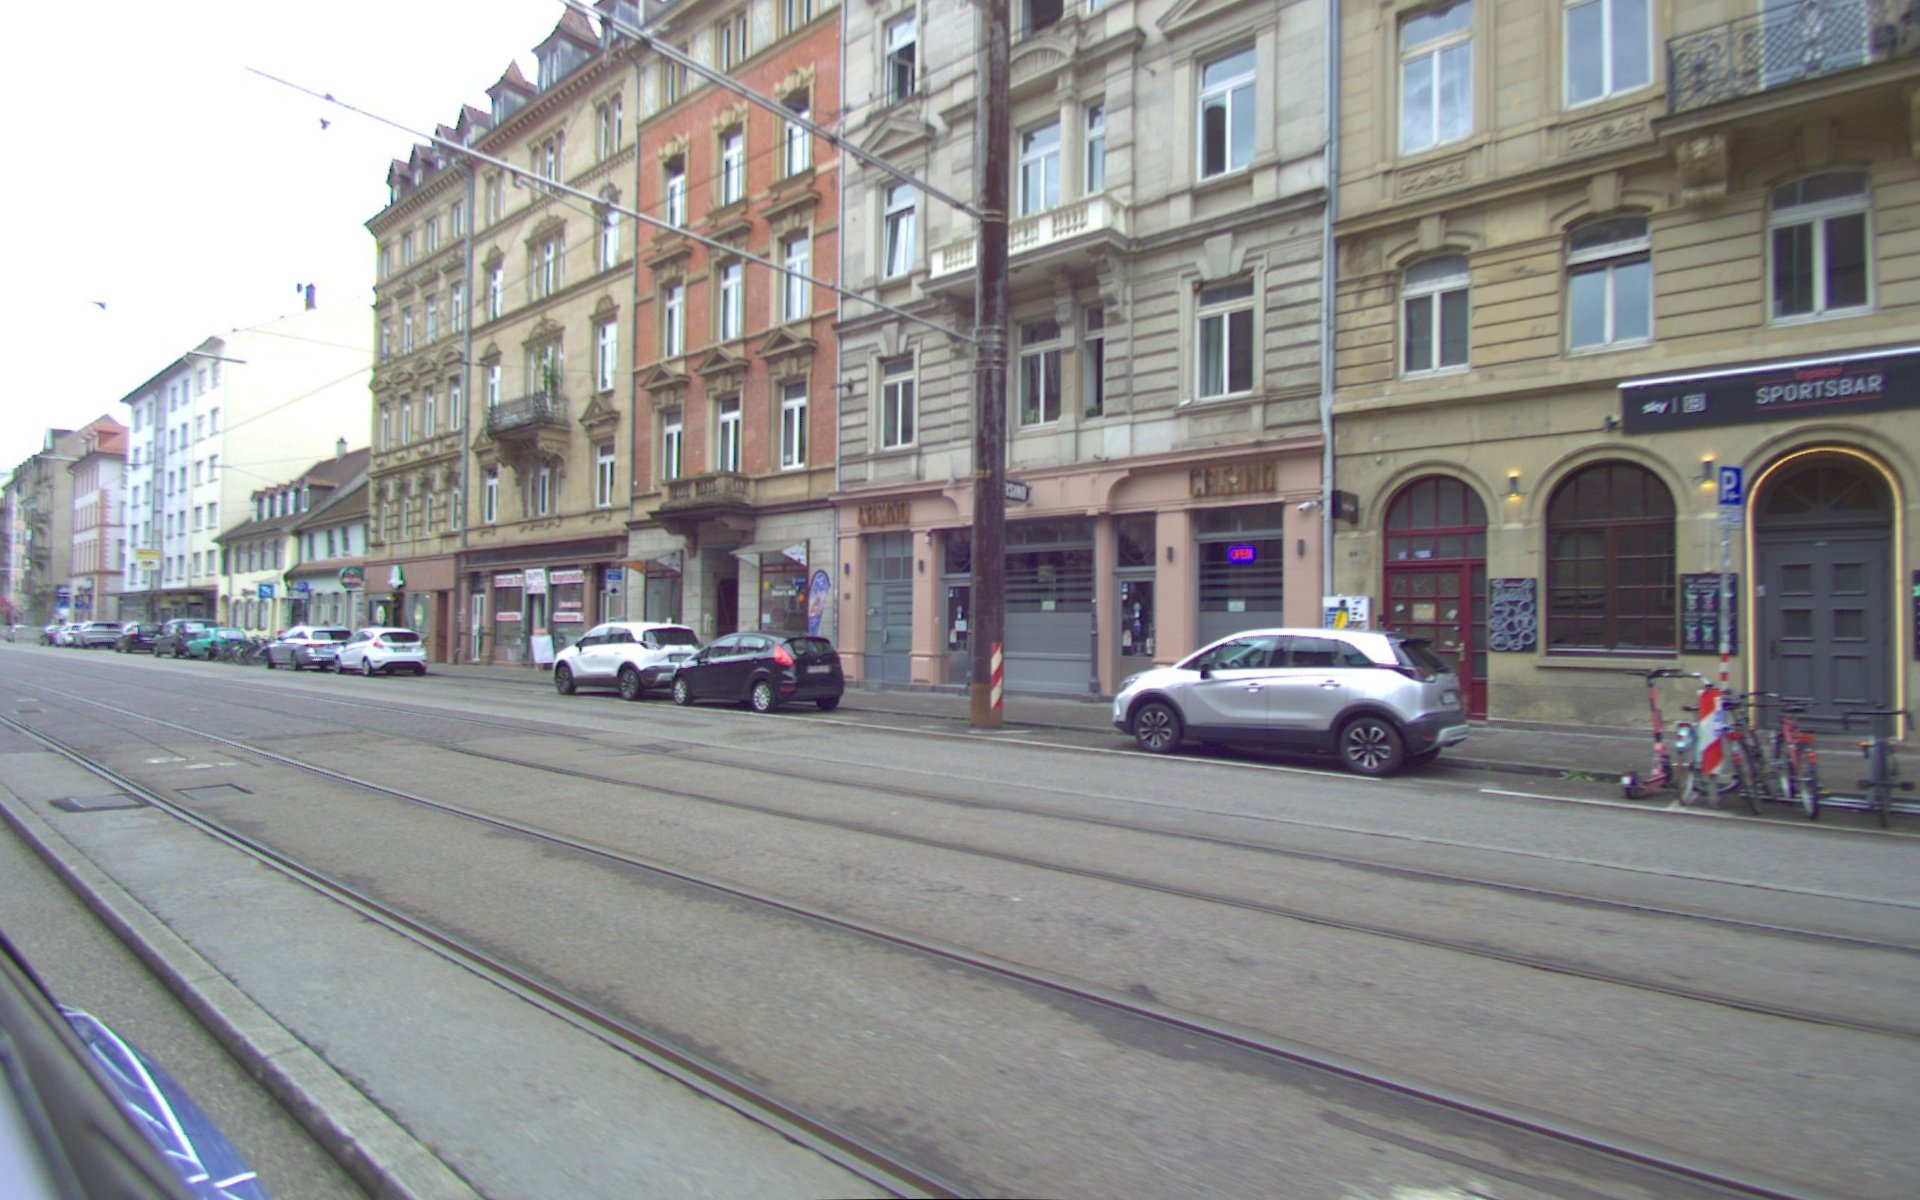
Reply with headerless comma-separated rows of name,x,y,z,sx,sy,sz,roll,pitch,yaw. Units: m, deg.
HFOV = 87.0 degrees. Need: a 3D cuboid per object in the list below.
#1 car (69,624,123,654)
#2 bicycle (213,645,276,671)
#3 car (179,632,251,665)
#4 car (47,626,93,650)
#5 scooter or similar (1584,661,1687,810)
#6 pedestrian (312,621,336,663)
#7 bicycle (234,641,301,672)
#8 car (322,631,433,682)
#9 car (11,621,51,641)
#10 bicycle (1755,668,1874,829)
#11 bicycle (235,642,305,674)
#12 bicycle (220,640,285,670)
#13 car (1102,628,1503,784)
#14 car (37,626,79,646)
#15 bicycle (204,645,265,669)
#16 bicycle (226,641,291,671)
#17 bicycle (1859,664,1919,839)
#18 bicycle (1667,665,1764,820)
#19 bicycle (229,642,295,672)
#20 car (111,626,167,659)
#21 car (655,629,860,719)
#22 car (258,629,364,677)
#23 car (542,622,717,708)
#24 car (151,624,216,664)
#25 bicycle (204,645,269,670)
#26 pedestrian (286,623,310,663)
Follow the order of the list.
car,-52.288,2.318,61.202,3.824,1.745,1.904,-1,-1,41
bicycle,-29.034,2.341,41.088,0.557,0.940,2.017,-1,-1,42
car,-32.646,2.125,44.350,3.431,1.391,1.631,-2,-4,38
car,-57.637,2.441,65.523,3.824,1.462,1.710,-1,-1,41
scooter or similar,6.653,1.248,9.919,0.547,1.212,2.258,-1,-1,41
pedestrian,-26.626,1.736,42.356,0.753,1.725,0.648,-1,-1,40
bicycle,-26.423,2.158,38.639,0.557,1.106,2.017,-1,-1,41
car,-18.198,1.740,31.545,4.043,1.476,1.725,-1,-4,41
car,-75.185,2.492,81.890,3.998,1.574,1.843,-1,-4,41
bicycle,7.518,1.231,8.901,0.704,1.212,2.258,-1,-4,41
bicycle,-26.000,2.175,38.156,0.557,1.106,2.111,-1,-1,41
bicycle,-27.869,2.172,39.901,0.557,1.106,2.017,-1,-1,41
car,3.965,1.134,12.131,4.222,1.545,1.726,-1,-4,41
car,-62.253,2.461,69.838,3.244,1.354,1.711,-1,-1,41
bicycle,-30.574,2.397,42.680,0.556,0.940,2.019,-1,-1,38
bicycle,-27.380,2.174,39.540,0.557,1.106,2.017,-1,-1,41
bicycle,7.979,1.208,8.553,0.540,1.212,2.258,0,0,41
bicycle,7.094,1.250,9.458,0.547,1.212,2.258,-1,-2,41
bicycle,-26.906,2.190,39.050,0.557,1.106,2.017,-1,-1,41
car,-43.820,2.224,53.976,4.180,1.684,1.682,-1,-1,42
car,-3.848,1.321,18.886,3.919,1.500,1.725,-2,-4,42
car,-22.025,1.788,34.287,4.543,1.533,1.805,-2,-4,41
car,-7.219,1.356,21.940,4.043,1.685,1.725,-1,-4,41
car,-36.275,2.028,47.263,3.919,1.770,1.684,-1,-4,43
bicycle,-29.623,2.350,41.454,0.556,0.940,2.100,-1,-1,38
pedestrian,-27.340,1.776,41.779,0.727,1.629,0.648,-1,-1,40
